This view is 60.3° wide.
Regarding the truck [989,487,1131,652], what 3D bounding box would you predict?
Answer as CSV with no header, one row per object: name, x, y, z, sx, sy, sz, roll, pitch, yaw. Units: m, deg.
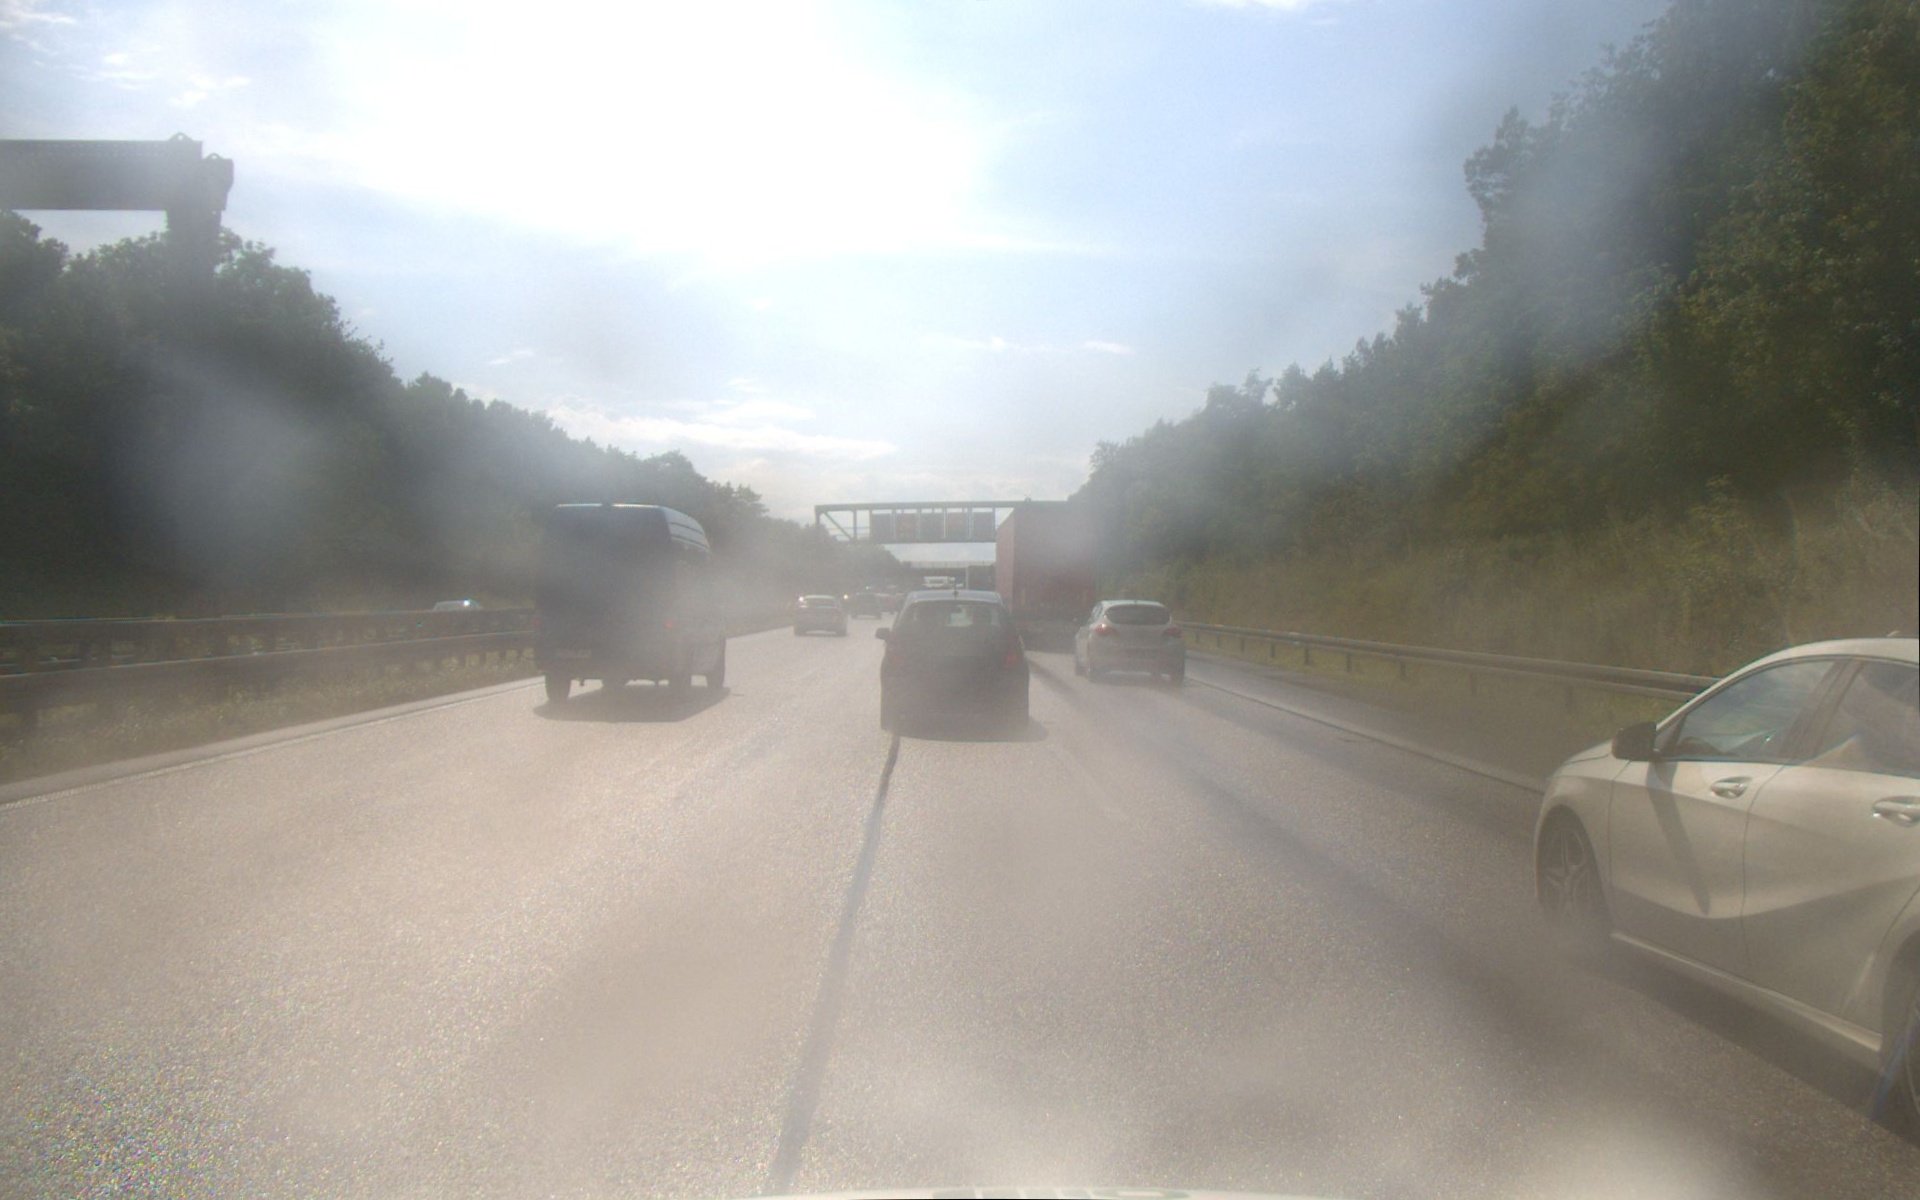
truck,3.102,-0.886,57.085,3.576,4.803,16.775,1,0,-1

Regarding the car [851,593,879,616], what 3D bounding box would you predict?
car,-6.147,0.296,107.366,1.716,1.482,3.388,1,0,-3

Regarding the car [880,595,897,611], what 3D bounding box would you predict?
car,-6.632,0.297,153.485,1.484,1.414,3.271,1,0,-3

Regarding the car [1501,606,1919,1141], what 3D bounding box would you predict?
car,3.438,0.767,5.752,1.658,1.450,4.219,1,0,-1

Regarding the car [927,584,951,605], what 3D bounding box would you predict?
car,-1.442,-0.359,113.126,1.521,1.407,3.208,1,0,-3

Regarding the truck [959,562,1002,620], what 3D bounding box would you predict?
truck,1.666,-0.722,138.846,3.190,4.558,12.418,1,0,-1

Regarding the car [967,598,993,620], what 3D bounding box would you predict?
car,1.350,0.608,110.375,1.521,1.407,3.208,1,0,-3

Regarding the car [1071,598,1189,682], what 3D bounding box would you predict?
car,3.163,0.721,31.391,1.647,1.467,3.903,1,0,-3

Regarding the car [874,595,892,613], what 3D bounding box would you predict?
car,-6.201,0.313,133.179,1.431,1.418,3.310,1,0,-3

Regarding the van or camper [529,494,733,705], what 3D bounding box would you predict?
van or camper,-4.661,-0.003,24.282,1.953,2.715,5.383,1,0,-1

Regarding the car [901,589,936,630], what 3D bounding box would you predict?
car,-1.902,0.417,75.119,1.501,1.777,3.483,1,0,-3

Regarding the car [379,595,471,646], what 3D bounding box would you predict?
car,-18.840,0.716,58.381,1.953,1.704,3.999,1,0,-1

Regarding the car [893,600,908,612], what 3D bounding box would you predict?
car,-6.446,0.643,179.475,1.518,1.289,3.482,1,0,-3

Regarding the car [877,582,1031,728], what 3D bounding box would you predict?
car,-0.138,0.614,20.110,1.683,1.595,3.483,1,0,-3

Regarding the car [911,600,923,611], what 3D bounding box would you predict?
car,-5.657,0.717,217.775,1.518,1.289,3.482,1,0,-3

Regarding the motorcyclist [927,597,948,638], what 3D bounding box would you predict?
motorcyclist,-0.938,0.697,68.049,0.785,1.662,1.013,1,0,-3

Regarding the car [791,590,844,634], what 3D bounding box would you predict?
car,-5.360,0.449,62.520,1.817,1.578,3.483,1,0,-3

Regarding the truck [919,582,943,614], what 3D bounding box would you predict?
truck,-2.761,-0.162,157.915,2.148,2.926,4.847,1,0,-3
